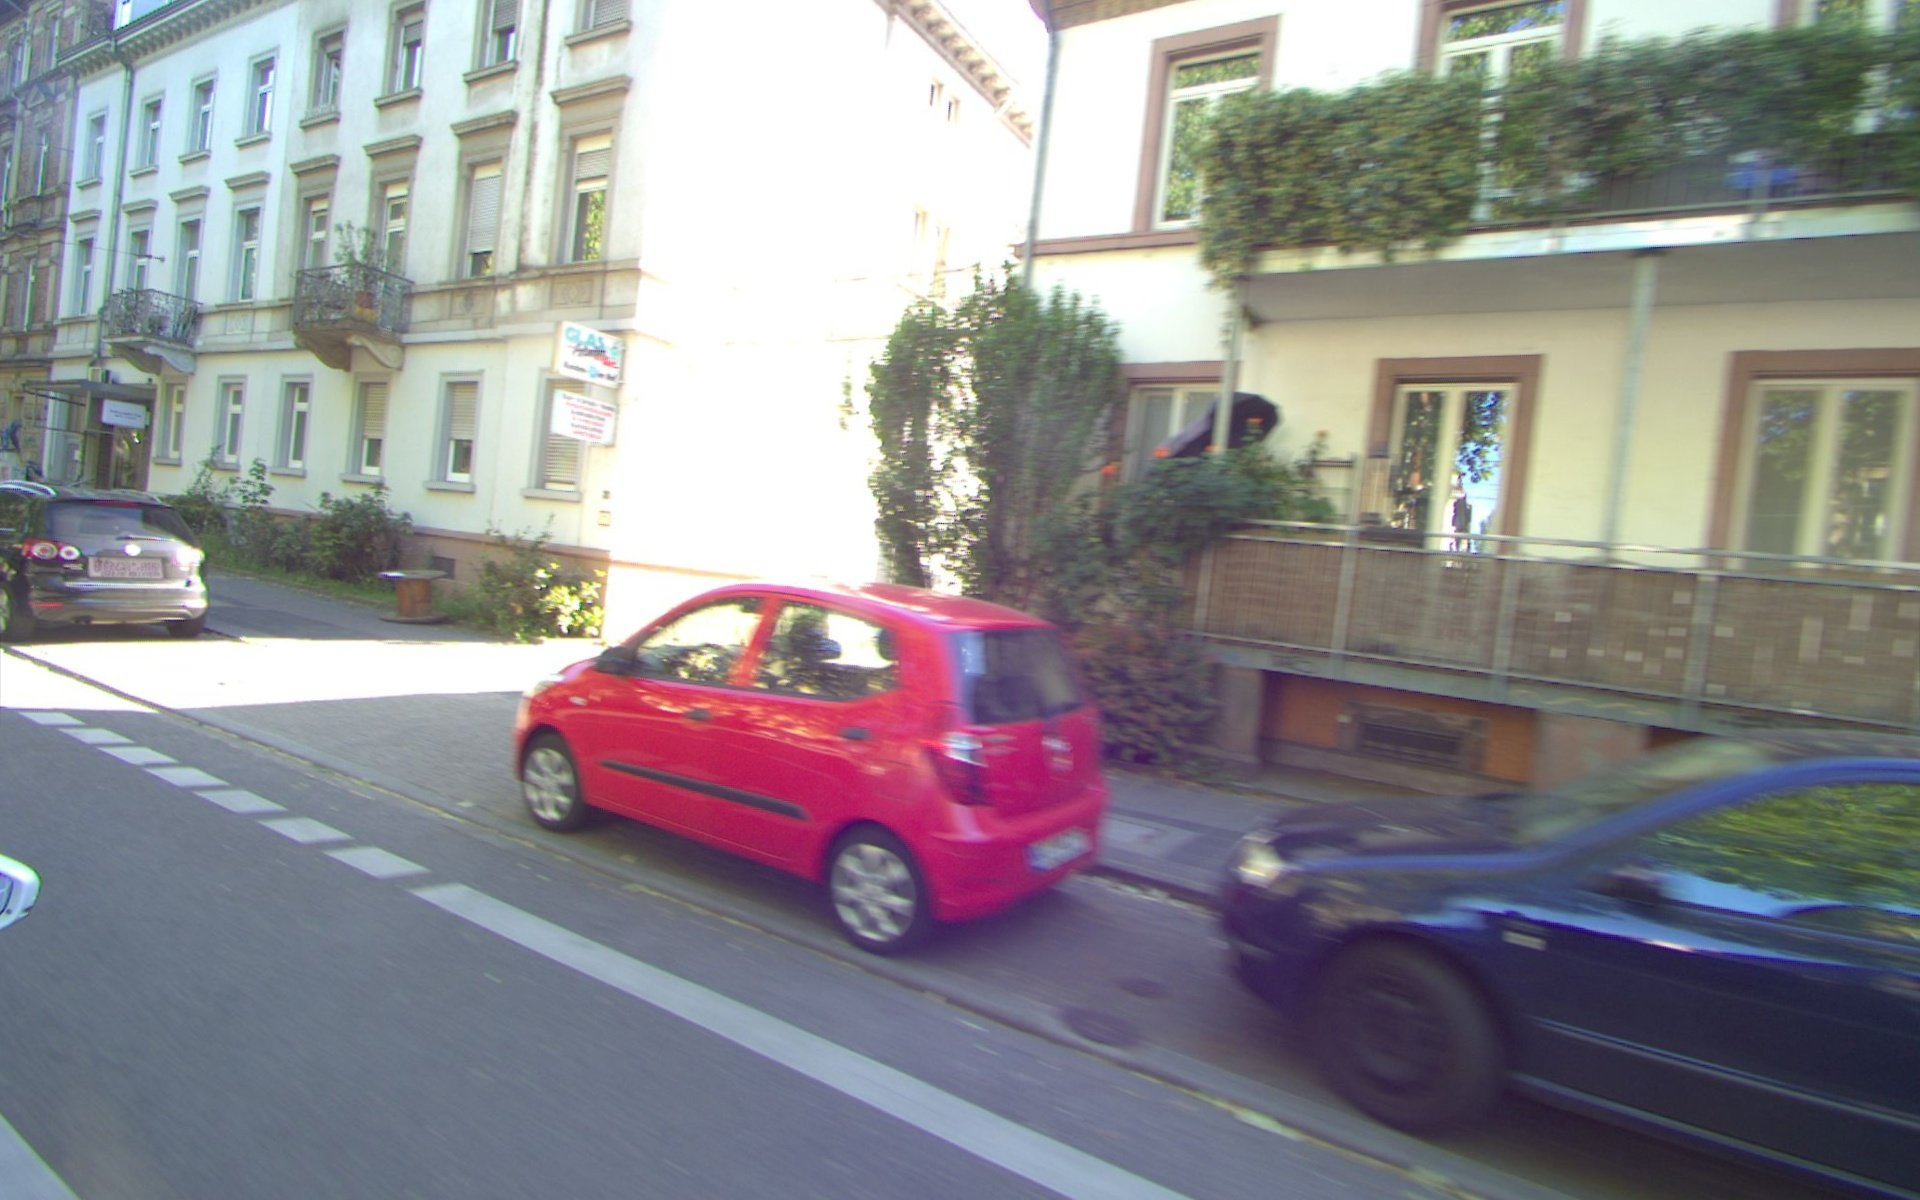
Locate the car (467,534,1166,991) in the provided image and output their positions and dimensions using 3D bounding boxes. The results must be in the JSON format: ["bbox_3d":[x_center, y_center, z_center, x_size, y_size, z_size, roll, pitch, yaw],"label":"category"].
[{"bbox_3d":[-0.903,0.614,5.567,3.518,1.567,1.635,7,2,33],"label":"car"}]

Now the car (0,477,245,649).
[{"bbox_3d":[-10.201,-0.517,11.429,3.865,1.608,1.880,7,4,29],"label":"car"}]

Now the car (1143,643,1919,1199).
[{"bbox_3d":[2.781,1.119,3.389,3.804,1.475,1.651,7,2,32],"label":"car"}]

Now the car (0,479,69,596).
[{"bbox_3d":[-14.018,-0.980,13.708,3.705,1.476,1.798,7,4,31],"label":"car"}]
